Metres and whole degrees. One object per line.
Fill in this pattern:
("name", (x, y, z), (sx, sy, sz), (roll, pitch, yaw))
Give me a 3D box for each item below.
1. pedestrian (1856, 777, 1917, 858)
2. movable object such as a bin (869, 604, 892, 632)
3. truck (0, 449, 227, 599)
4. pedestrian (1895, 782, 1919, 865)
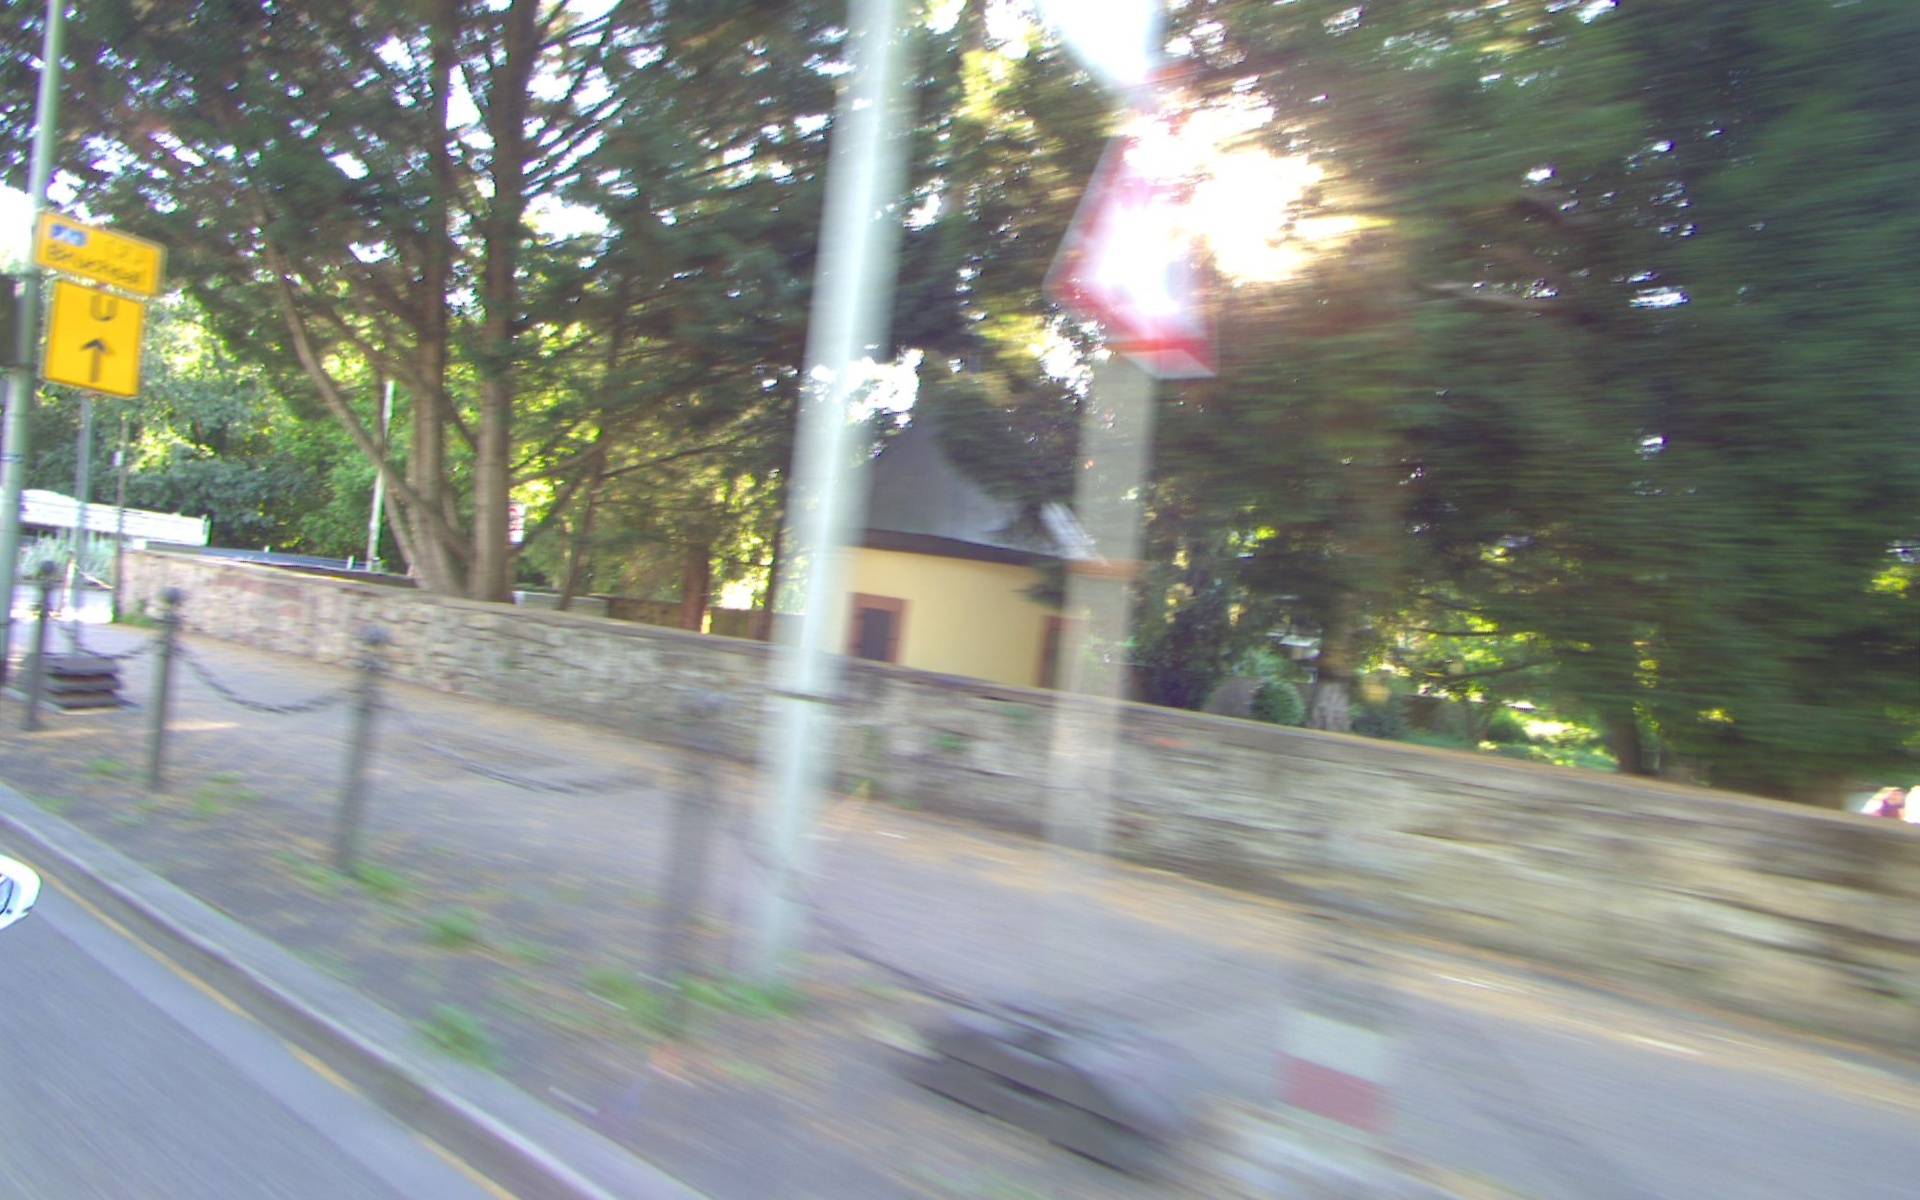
("pedestrian", (20.773, 4.871, 22.569), (0.748, 1.636, 0.565), (8, -1, -13))
("movable object such as a bin", (-4.554, 1.043, 57.465), (1.077, 1.485, 1.080), (6, -2, -10))
("truck", (-22.346, -1.964, 24.510), (2.396, 2.927, 6.592), (6, -3, 37))
("pedestrian", (21.479, 5.017, 22.506), (0.588, 1.749, 0.591), (6, -2, 32))
